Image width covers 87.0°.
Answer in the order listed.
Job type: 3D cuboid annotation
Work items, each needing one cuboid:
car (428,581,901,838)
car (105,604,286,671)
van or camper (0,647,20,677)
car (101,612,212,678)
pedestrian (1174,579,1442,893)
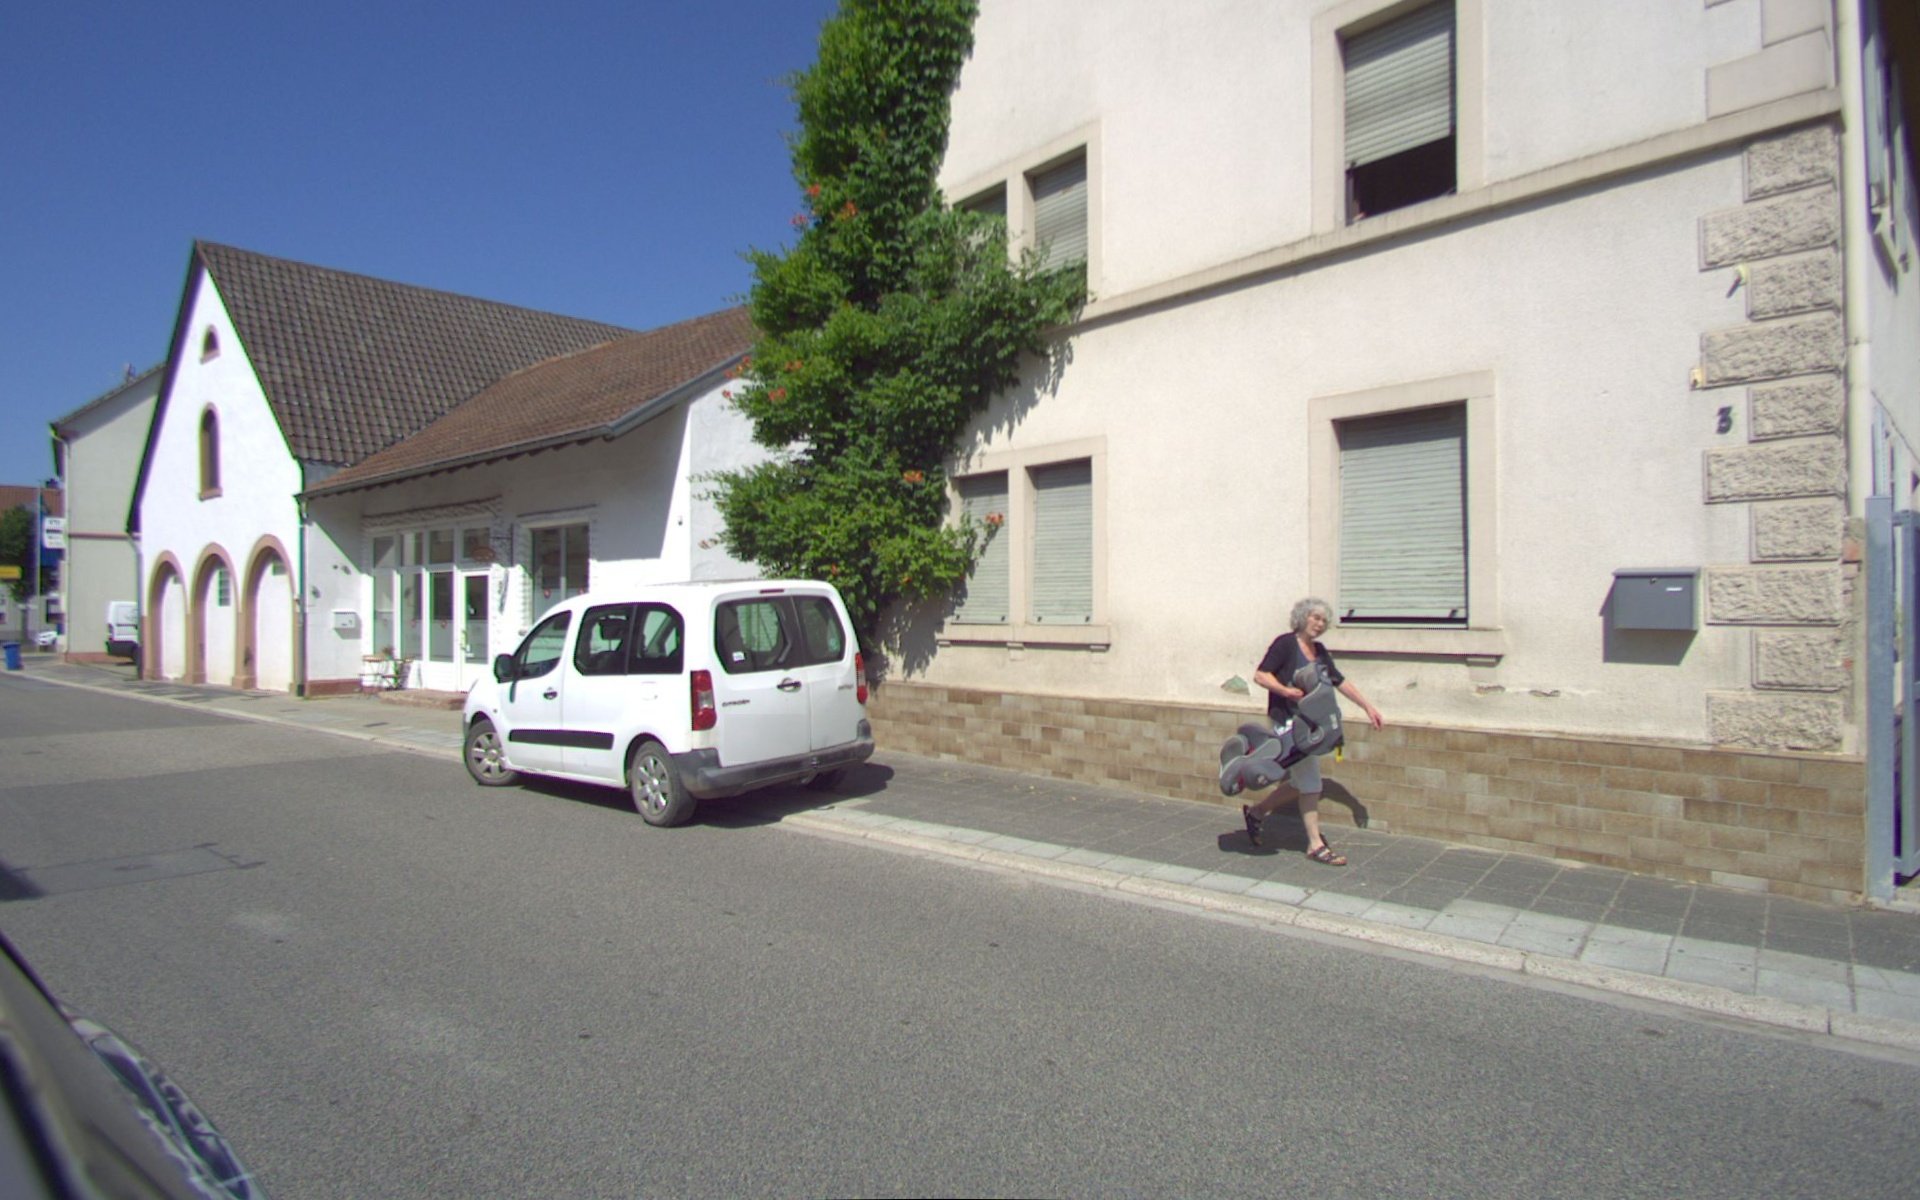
[{"bbox_3d":[-2.751,0.748,8.819,4.427,1.659,1.836,-1,1,41],"label":"car"},{"bbox_3d":[-27.655,1.302,36.713,5.111,2.213,2.126,0,-1,-41],"label":"car"},{"bbox_3d":[-31.645,2.062,33.632,0.600,0.959,0.582,-2,-2,45],"label":"van or camper"},{"bbox_3d":[-25.930,1.408,32.626,4.666,1.979,1.973,-1,-1,41],"label":"car"},{"bbox_3d":[1.991,0.687,5.802,1.139,1.563,1.003,-2,-1,42],"label":"pedestrian"}]
